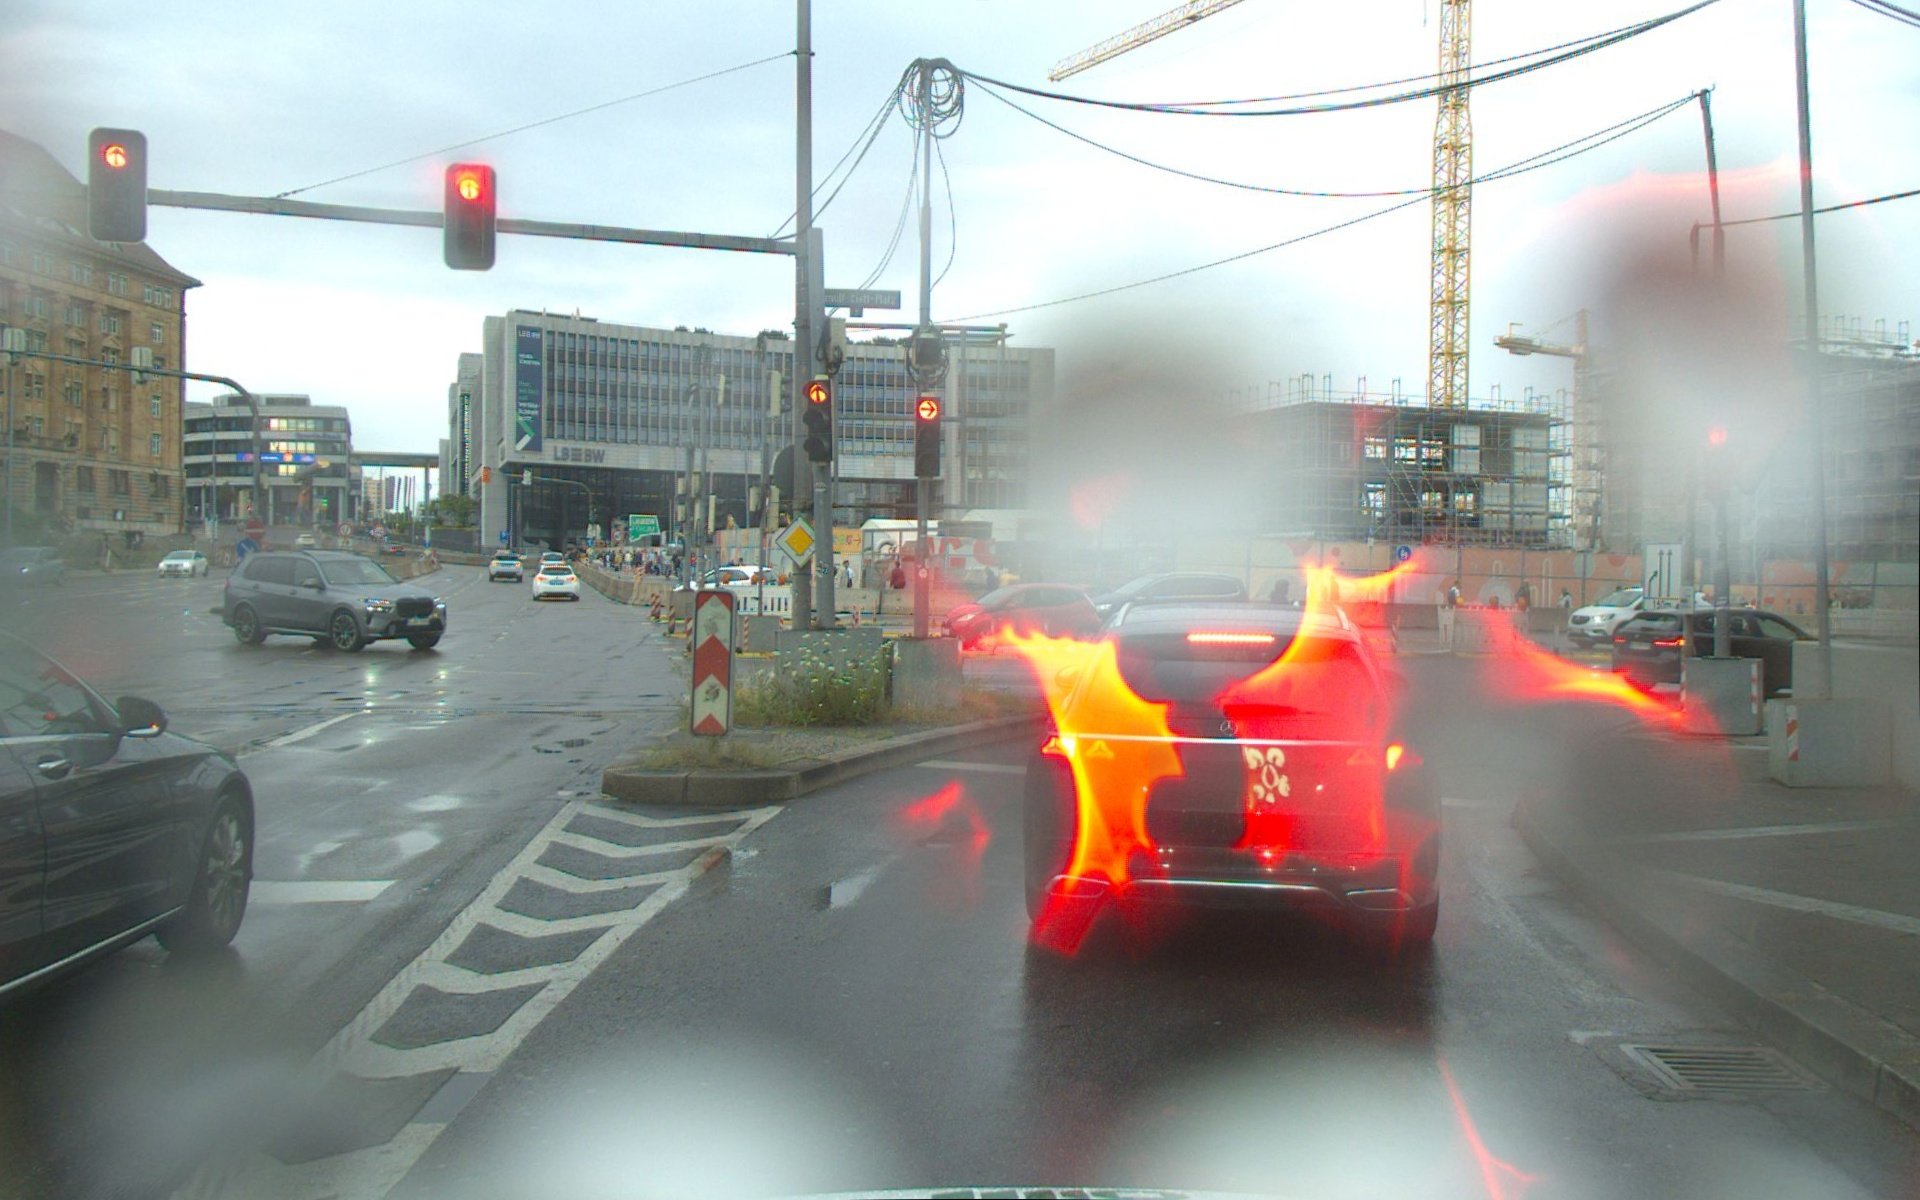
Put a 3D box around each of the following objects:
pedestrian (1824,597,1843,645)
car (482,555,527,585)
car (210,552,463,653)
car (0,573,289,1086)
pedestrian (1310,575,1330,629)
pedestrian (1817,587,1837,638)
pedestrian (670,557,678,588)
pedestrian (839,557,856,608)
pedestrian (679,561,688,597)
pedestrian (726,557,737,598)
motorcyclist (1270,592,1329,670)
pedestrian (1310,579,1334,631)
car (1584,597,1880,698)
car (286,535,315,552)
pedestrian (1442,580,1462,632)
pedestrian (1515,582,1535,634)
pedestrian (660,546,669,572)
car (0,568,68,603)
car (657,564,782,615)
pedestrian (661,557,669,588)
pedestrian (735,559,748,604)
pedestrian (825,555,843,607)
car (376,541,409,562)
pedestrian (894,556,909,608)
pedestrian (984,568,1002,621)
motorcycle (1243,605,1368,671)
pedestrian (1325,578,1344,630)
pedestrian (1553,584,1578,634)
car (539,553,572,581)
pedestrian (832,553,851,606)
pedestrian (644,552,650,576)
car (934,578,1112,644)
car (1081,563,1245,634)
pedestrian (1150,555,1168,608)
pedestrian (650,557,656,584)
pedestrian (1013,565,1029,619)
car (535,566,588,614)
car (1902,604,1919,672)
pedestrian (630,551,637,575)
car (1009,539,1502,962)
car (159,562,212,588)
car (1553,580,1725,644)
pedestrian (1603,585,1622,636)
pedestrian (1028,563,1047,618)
[{"bbox_3d":[35.420,0.850,67.044,0.564,1.931,0.361,1,-1,-11],"label":"pedestrian"},{"bbox_3d":[-26.958,-1.749,97.879,1.967,1.669,3.970,2,-1,-24],"label":"car"},{"bbox_3d":[-12.182,0.031,32.197,4.995,1.829,1.995,1,-1,33],"label":"car"},{"bbox_3d":[-3.678,0.656,5.170,1.749,1.427,4.480,1,1,-7],"label":"car"},{"bbox_3d":[12.933,0.072,59.404,0.564,1.931,0.361,1,-1,-11],"label":"pedestrian"},{"bbox_3d":[32.902,0.469,62.784,0.564,1.931,0.361,1,-1,-11],"label":"pedestrian"},{"bbox_3d":[-17.926,-1.714,103.639,0.355,1.931,0.573,2,-1,-17],"label":"pedestrian"},{"bbox_3d":[-4.289,-0.665,63.082,0.359,1.931,0.567,1,-1,-44],"label":"pedestrian"},{"bbox_3d":[-15.052,-1.125,90.011,0.355,1.931,0.573,2,-1,-17],"label":"pedestrian"},{"bbox_3d":[-10.987,-1.091,79.606,0.356,1.931,0.573,2,-1,-22],"label":"pedestrian"},{"bbox_3d":[6.164,0.567,30.085,0.925,1.382,0.850,1,-1,3],"label":"motorcyclist"},{"bbox_3d":[13.659,0.205,62.361,0.644,1.935,0.630,2,-1,-14],"label":"pedestrian"},{"bbox_3d":[12.688,0.773,27.297,4.024,1.533,1.995,1,-1,-10],"label":"car"},{"bbox_3d":[-80.534,-6.918,202.009,1.984,1.848,3.937,2,-1,-43],"label":"car"},{"bbox_3d":[18.237,0.231,61.315,0.564,1.931,0.361,1,-1,-11],"label":"pedestrian"},{"bbox_3d":[21.029,0.300,61.556,0.564,1.931,0.361,1,-1,-11],"label":"pedestrian"},{"bbox_3d":[-22.380,-3.079,125.209,0.511,1.931,0.573,2,-1,-18],"label":"pedestrian"},{"bbox_3d":[-37.781,-0.571,67.026,1.736,1.282,4.181,1,-1,-12],"label":"car"},{"bbox_3d":[-7.666,-0.331,52.762,3.474,1.499,1.786,1,-1,20],"label":"car"},{"bbox_3d":[-18.439,-1.727,103.472,0.355,1.931,0.573,2,-1,-17],"label":"pedestrian"},{"bbox_3d":[-9.434,-0.798,71.269,0.356,1.931,0.572,2,-1,-26],"label":"pedestrian"},{"bbox_3d":[-4.777,-0.719,62.735,0.359,1.931,0.568,2,-1,-39],"label":"pedestrian"},{"bbox_3d":[-59.537,-5.126,173.582,1.981,2.049,3.942,2,-1,-40],"label":"car"},{"bbox_3d":[-2.183,-0.669,61.885,0.356,1.931,0.573,2,-1,-22],"label":"pedestrian"},{"bbox_3d":[1.199,-0.191,60.229,0.562,1.931,0.362,1,-1,14],"label":"pedestrian"},{"bbox_3d":[6.241,0.689,29.965,2.091,1.128,0.851,1,-1,3],"label":"motorcycle"},{"bbox_3d":[13.993,0.138,61.784,0.564,1.931,0.361,1,-1,-11],"label":"pedestrian"},{"bbox_3d":[23.874,0.346,65.226,0.644,1.935,0.630,2,-1,-14],"label":"pedestrian"},{"bbox_3d":[-27.448,-2.240,112.242,1.703,1.668,3.413,2,2,-22],"label":"car"},{"bbox_3d":[-4.293,-0.744,60.068,0.359,1.931,0.567,2,-1,-44],"label":"pedestrian"},{"bbox_3d":[-25.130,-2.870,132.618,0.355,1.931,0.573,2,-1,-17],"label":"pedestrian"},{"bbox_3d":[1.356,0.251,35.813,3.480,1.327,1.657,2,-1,-19],"label":"car"},{"bbox_3d":[5.457,-0.025,44.652,3.922,1.764,1.991,2,-1,-16],"label":"car"},{"bbox_3d":[7.303,-0.672,60.737,0.563,1.931,0.362,1,-1,-5],"label":"pedestrian"},{"bbox_3d":[-22.629,-2.191,122.015,0.355,1.931,0.573,2,-1,-17],"label":"pedestrian"},{"bbox_3d":[2.221,-0.289,60.169,0.562,1.931,0.362,1,-1,2],"label":"pedestrian"},{"bbox_3d":[-15.917,-0.374,66.184,1.959,1.797,4.403,2,-1,-13],"label":"car"},{"bbox_3d":[21.445,0.807,33.204,4.021,1.368,1.996,1,-1,-8],"label":"car"},{"bbox_3d":[-26.777,-3.010,135.648,0.511,1.931,0.573,2,-1,-18],"label":"pedestrian"},{"bbox_3d":[1.314,0.597,8.362,1.851,1.571,3.995,1,-1,5],"label":"car"},{"bbox_3d":[-42.482,-1.360,90.796,1.736,1.282,3.987,1,-1,-12],"label":"car"},{"bbox_3d":[18.192,0.338,44.339,3.979,1.579,1.989,2,-1,-19],"label":"car"},{"bbox_3d":[25.029,0.419,63.473,0.564,1.931,0.361,1,-1,-13],"label":"pedestrian"},{"bbox_3d":[2.746,-0.318,58.729,0.564,1.931,0.361,1,-1,-8],"label":"pedestrian"}]
